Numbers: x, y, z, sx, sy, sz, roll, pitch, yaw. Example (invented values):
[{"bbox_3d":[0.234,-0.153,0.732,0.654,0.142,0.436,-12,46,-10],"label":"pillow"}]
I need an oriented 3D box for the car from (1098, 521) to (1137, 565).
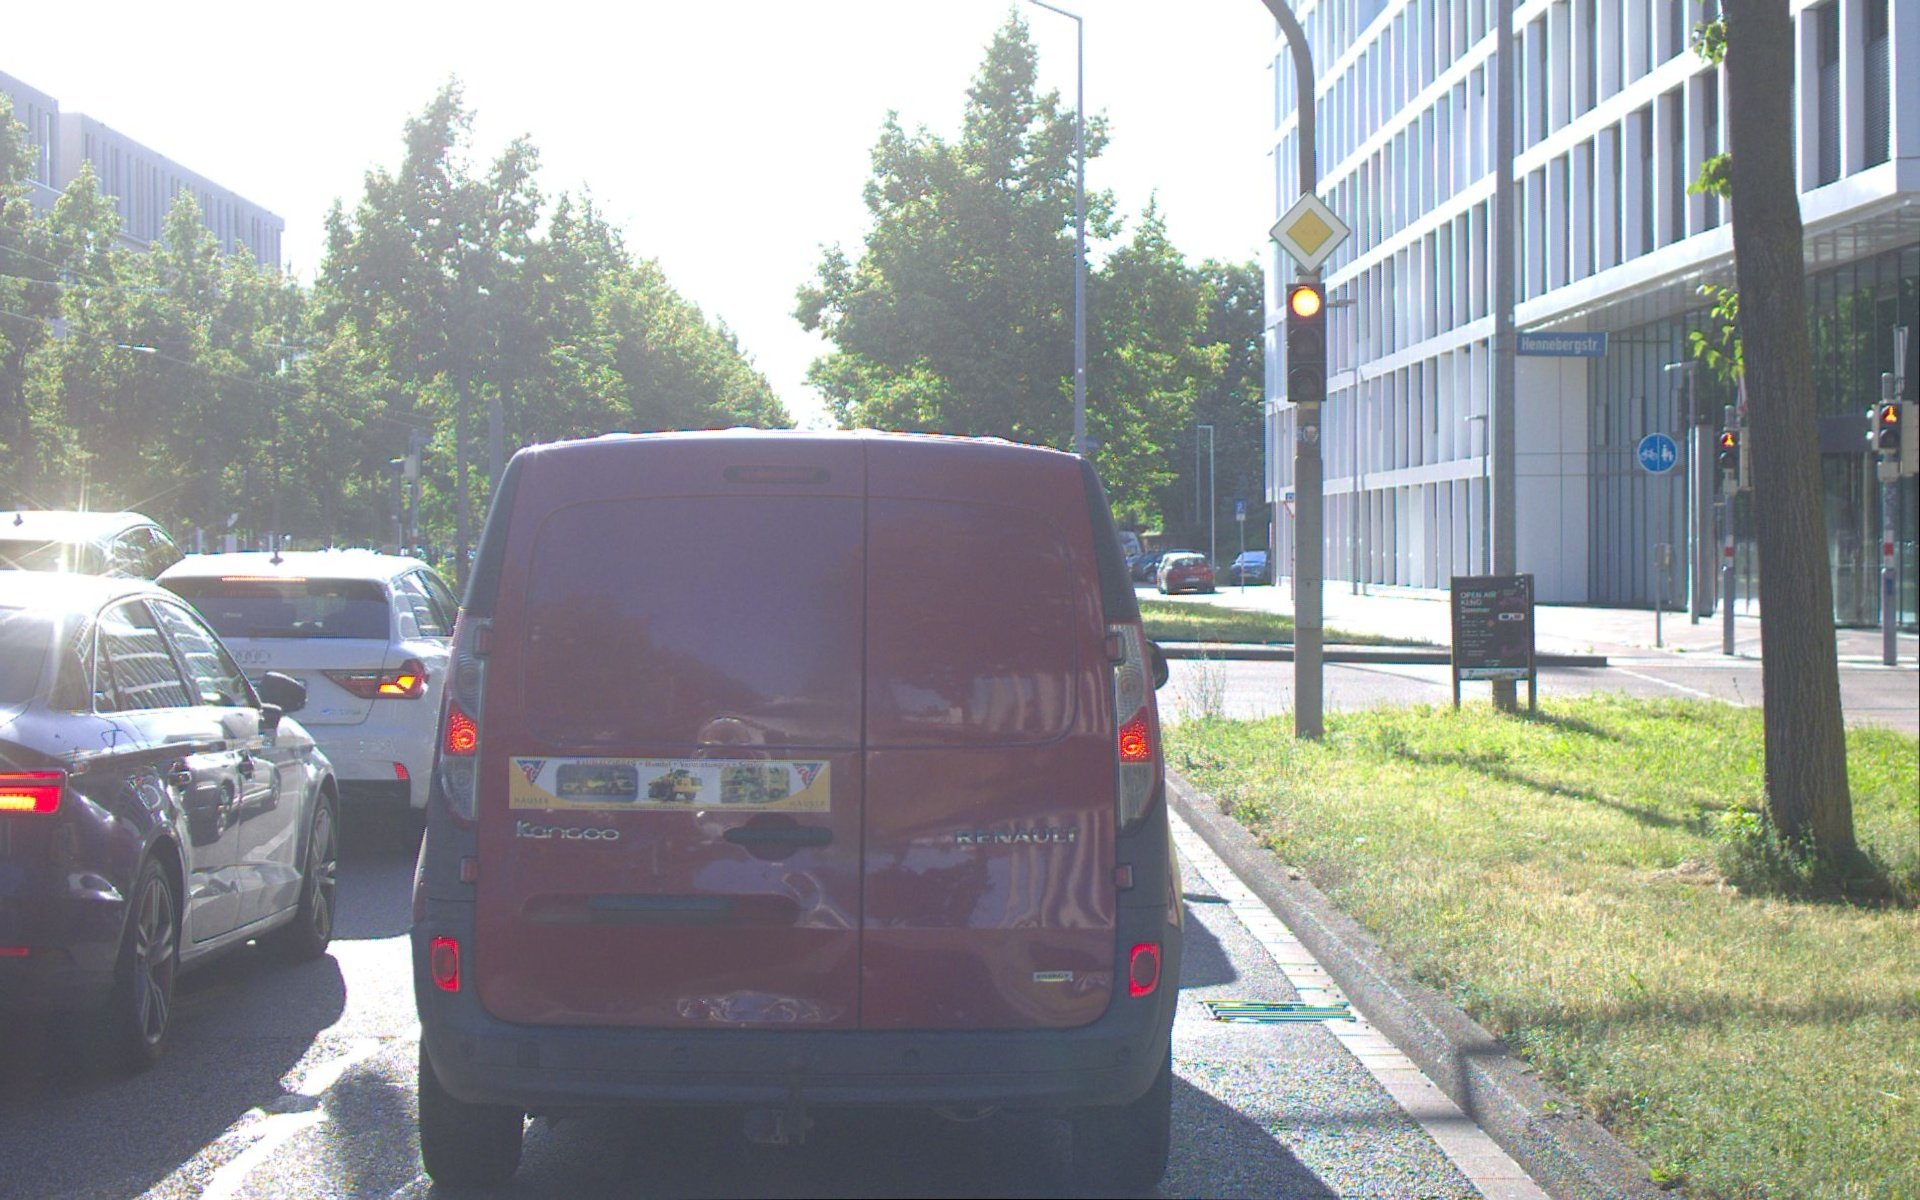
[{"bbox_3d":[9.067,-3.296,198.328,1.993,2.488,4.987,0,1,-1],"label":"car"}]

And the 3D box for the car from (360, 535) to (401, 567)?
[{"bbox_3d":[-37.552,-3.190,222.869,1.993,2.007,4.000,0,1,-1],"label":"car"}]

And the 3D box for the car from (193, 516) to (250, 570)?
[{"bbox_3d":[-36.138,-2.785,168.354,1.993,2.598,4.000,0,1,-1],"label":"car"}]

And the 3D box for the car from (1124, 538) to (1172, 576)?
[{"bbox_3d":[8.780,-2.023,160.621,1.993,1.776,4.000,0,1,-1],"label":"car"}]

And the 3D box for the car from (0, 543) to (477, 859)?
[{"bbox_3d":[-3.626,0.429,17.587,1.803,1.421,3.901,0,1,-1],"label":"car"}]

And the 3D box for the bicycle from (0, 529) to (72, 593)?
[{"bbox_3d":[-18.125,-0.729,64.059,2.941,1.186,0.818,0,1,-4],"label":"bicycle"}]

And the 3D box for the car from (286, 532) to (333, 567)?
[{"bbox_3d":[-37.682,-2.915,199.227,1.993,2.007,4.000,0,1,-1],"label":"car"}]

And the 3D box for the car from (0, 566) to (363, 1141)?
[{"bbox_3d":[-3.168,0.624,10.926,1.842,1.421,4.339,0,1,-1],"label":"car"}]

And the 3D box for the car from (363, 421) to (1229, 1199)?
[{"bbox_3d":[-0.376,0.470,9.330,1.842,1.774,4.000,0,1,-1],"label":"car"}]

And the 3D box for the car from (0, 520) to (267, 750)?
[{"bbox_3d":[-6.253,0.184,24.195,1.799,1.442,4.569,2,1,0],"label":"car"}]

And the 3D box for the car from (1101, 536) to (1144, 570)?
[{"bbox_3d":[8.482,-2.460,179.819,1.993,1.776,4.000,0,1,-1],"label":"car"}]

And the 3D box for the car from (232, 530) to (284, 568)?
[{"bbox_3d":[-37.231,-2.698,182.413,1.993,2.007,4.000,0,1,-1],"label":"car"}]

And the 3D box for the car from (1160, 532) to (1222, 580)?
[{"bbox_3d":[8.573,-1.645,128.051,1.993,1.776,4.000,0,1,-1],"label":"car"}]

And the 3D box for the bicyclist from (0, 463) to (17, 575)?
[{"bbox_3d":[-18.133,-1.506,64.057,0.939,2.085,0.818,0,1,-4],"label":"bicyclist"}]

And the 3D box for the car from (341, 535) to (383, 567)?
[{"bbox_3d":[-37.763,-3.132,217.245,1.993,2.007,4.000,0,1,-1],"label":"car"}]
